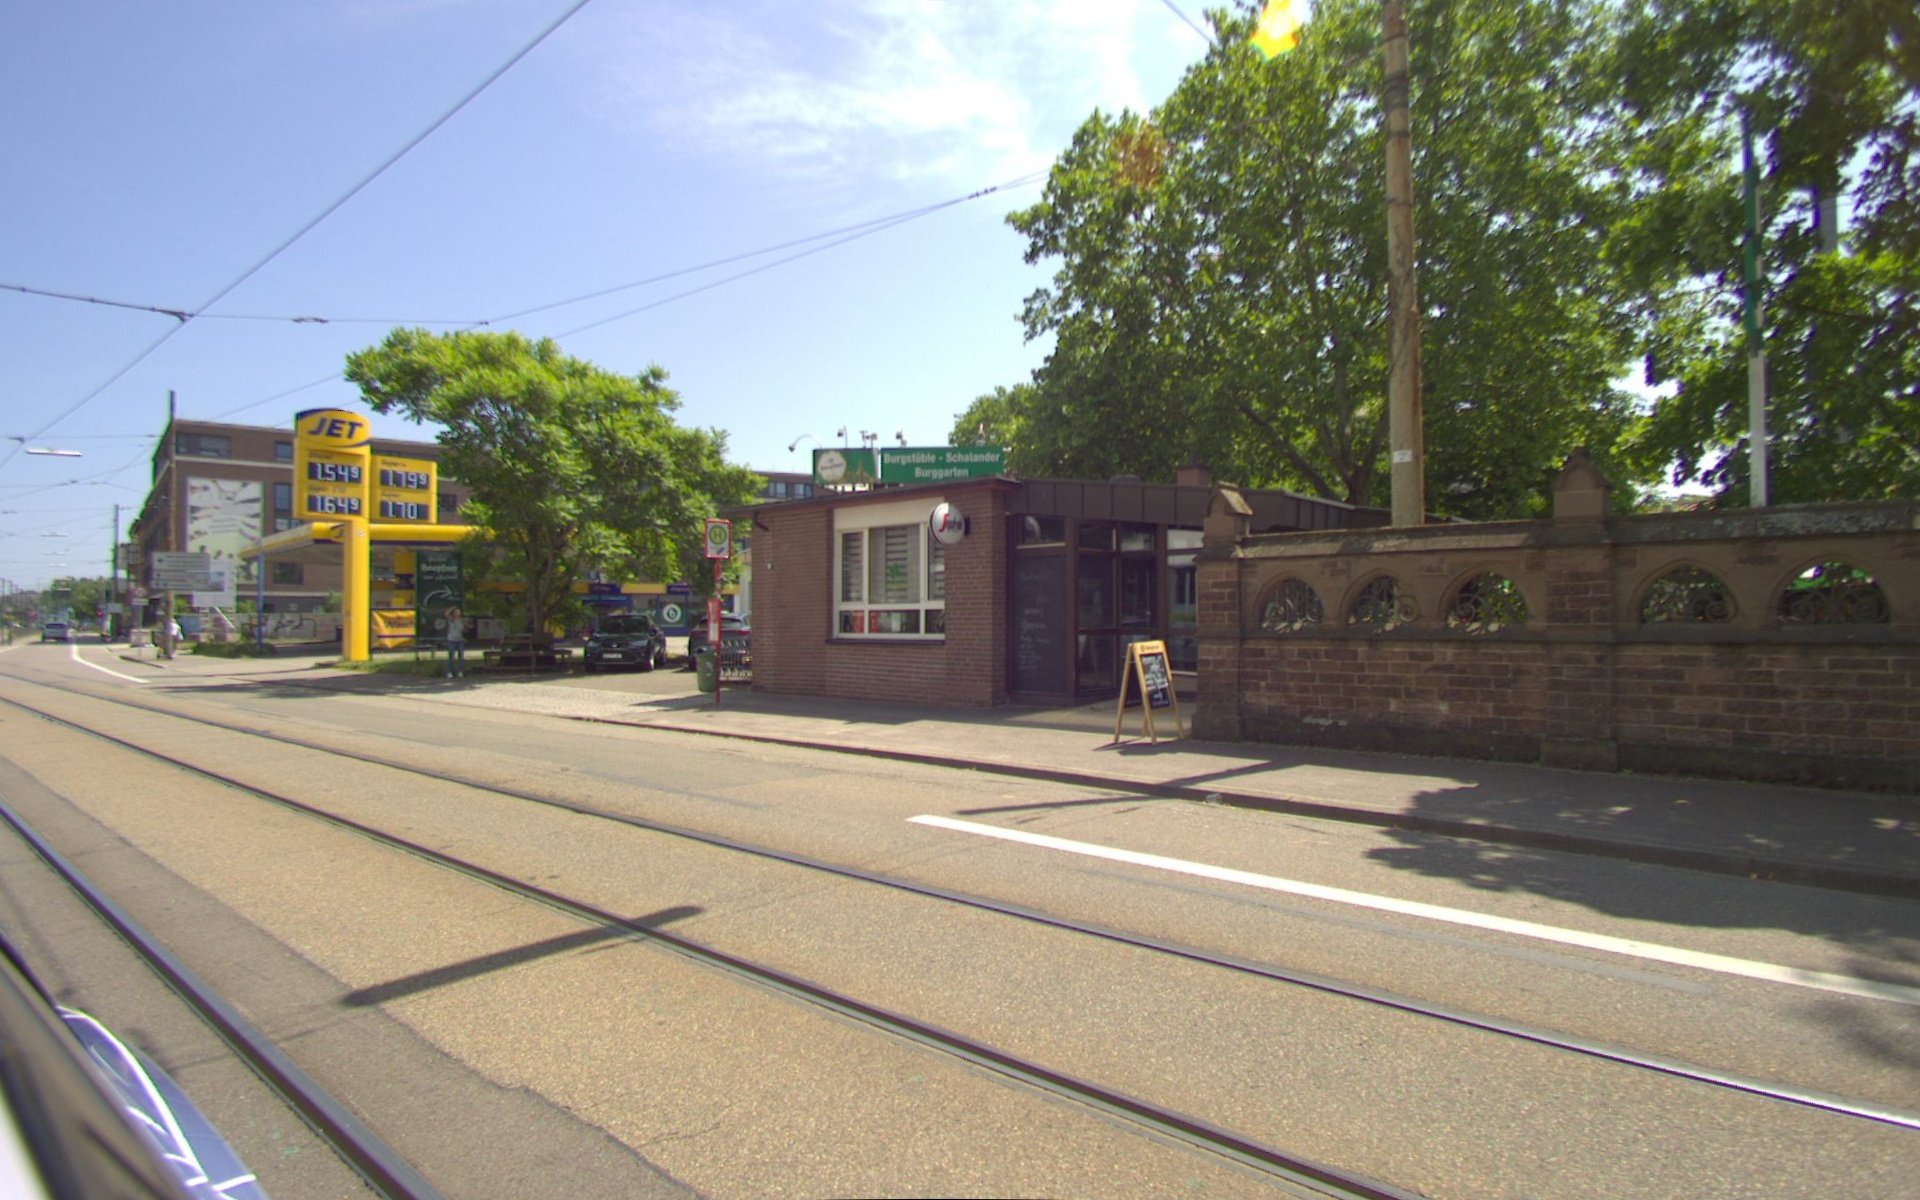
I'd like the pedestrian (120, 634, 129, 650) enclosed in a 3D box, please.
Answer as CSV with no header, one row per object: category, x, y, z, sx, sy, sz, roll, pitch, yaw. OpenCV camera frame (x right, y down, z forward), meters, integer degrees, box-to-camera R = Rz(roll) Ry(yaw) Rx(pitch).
pedestrian,-81.959,4.101,99.308,0.596,1.608,0.716,1,-2,-44

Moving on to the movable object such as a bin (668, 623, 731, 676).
movable object such as a bin,-8.038,1.486,31.140,1.499,1.521,2.106,-1,-1,-25

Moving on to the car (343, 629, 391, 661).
car,-30.632,2.323,52.370,1.800,1.516,4.212,-2,-2,-26

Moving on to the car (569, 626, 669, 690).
car,-9.195,1.505,27.636,1.904,1.500,4.460,-1,-1,-10

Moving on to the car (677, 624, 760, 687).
car,-6.585,1.472,27.975,1.904,1.500,4.460,-1,-1,-10

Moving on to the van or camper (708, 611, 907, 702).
van or camper,-3.080,1.111,20.936,1.870,1.641,3.745,-3,-2,40

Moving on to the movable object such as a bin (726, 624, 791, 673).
movable object such as a bin,-6.372,1.506,31.885,1.499,1.443,2.106,-1,-1,-25

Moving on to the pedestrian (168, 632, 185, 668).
pedestrian,-37.429,2.393,48.338,0.616,1.704,0.724,1,-2,-36

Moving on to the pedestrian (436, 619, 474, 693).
pedestrian,-12.551,1.382,25.174,0.698,1.789,0.574,-2,-1,37

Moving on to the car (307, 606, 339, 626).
car,-48.744,1.244,77.421,1.709,1.479,4.008,0,-1,-37

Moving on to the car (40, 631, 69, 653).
car,-84.463,3.900,94.412,1.969,1.813,4.559,-1,0,-41

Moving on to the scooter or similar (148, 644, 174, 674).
scooter or similar,-32.736,2.403,41.460,1.375,1.209,0.514,-2,-1,38
